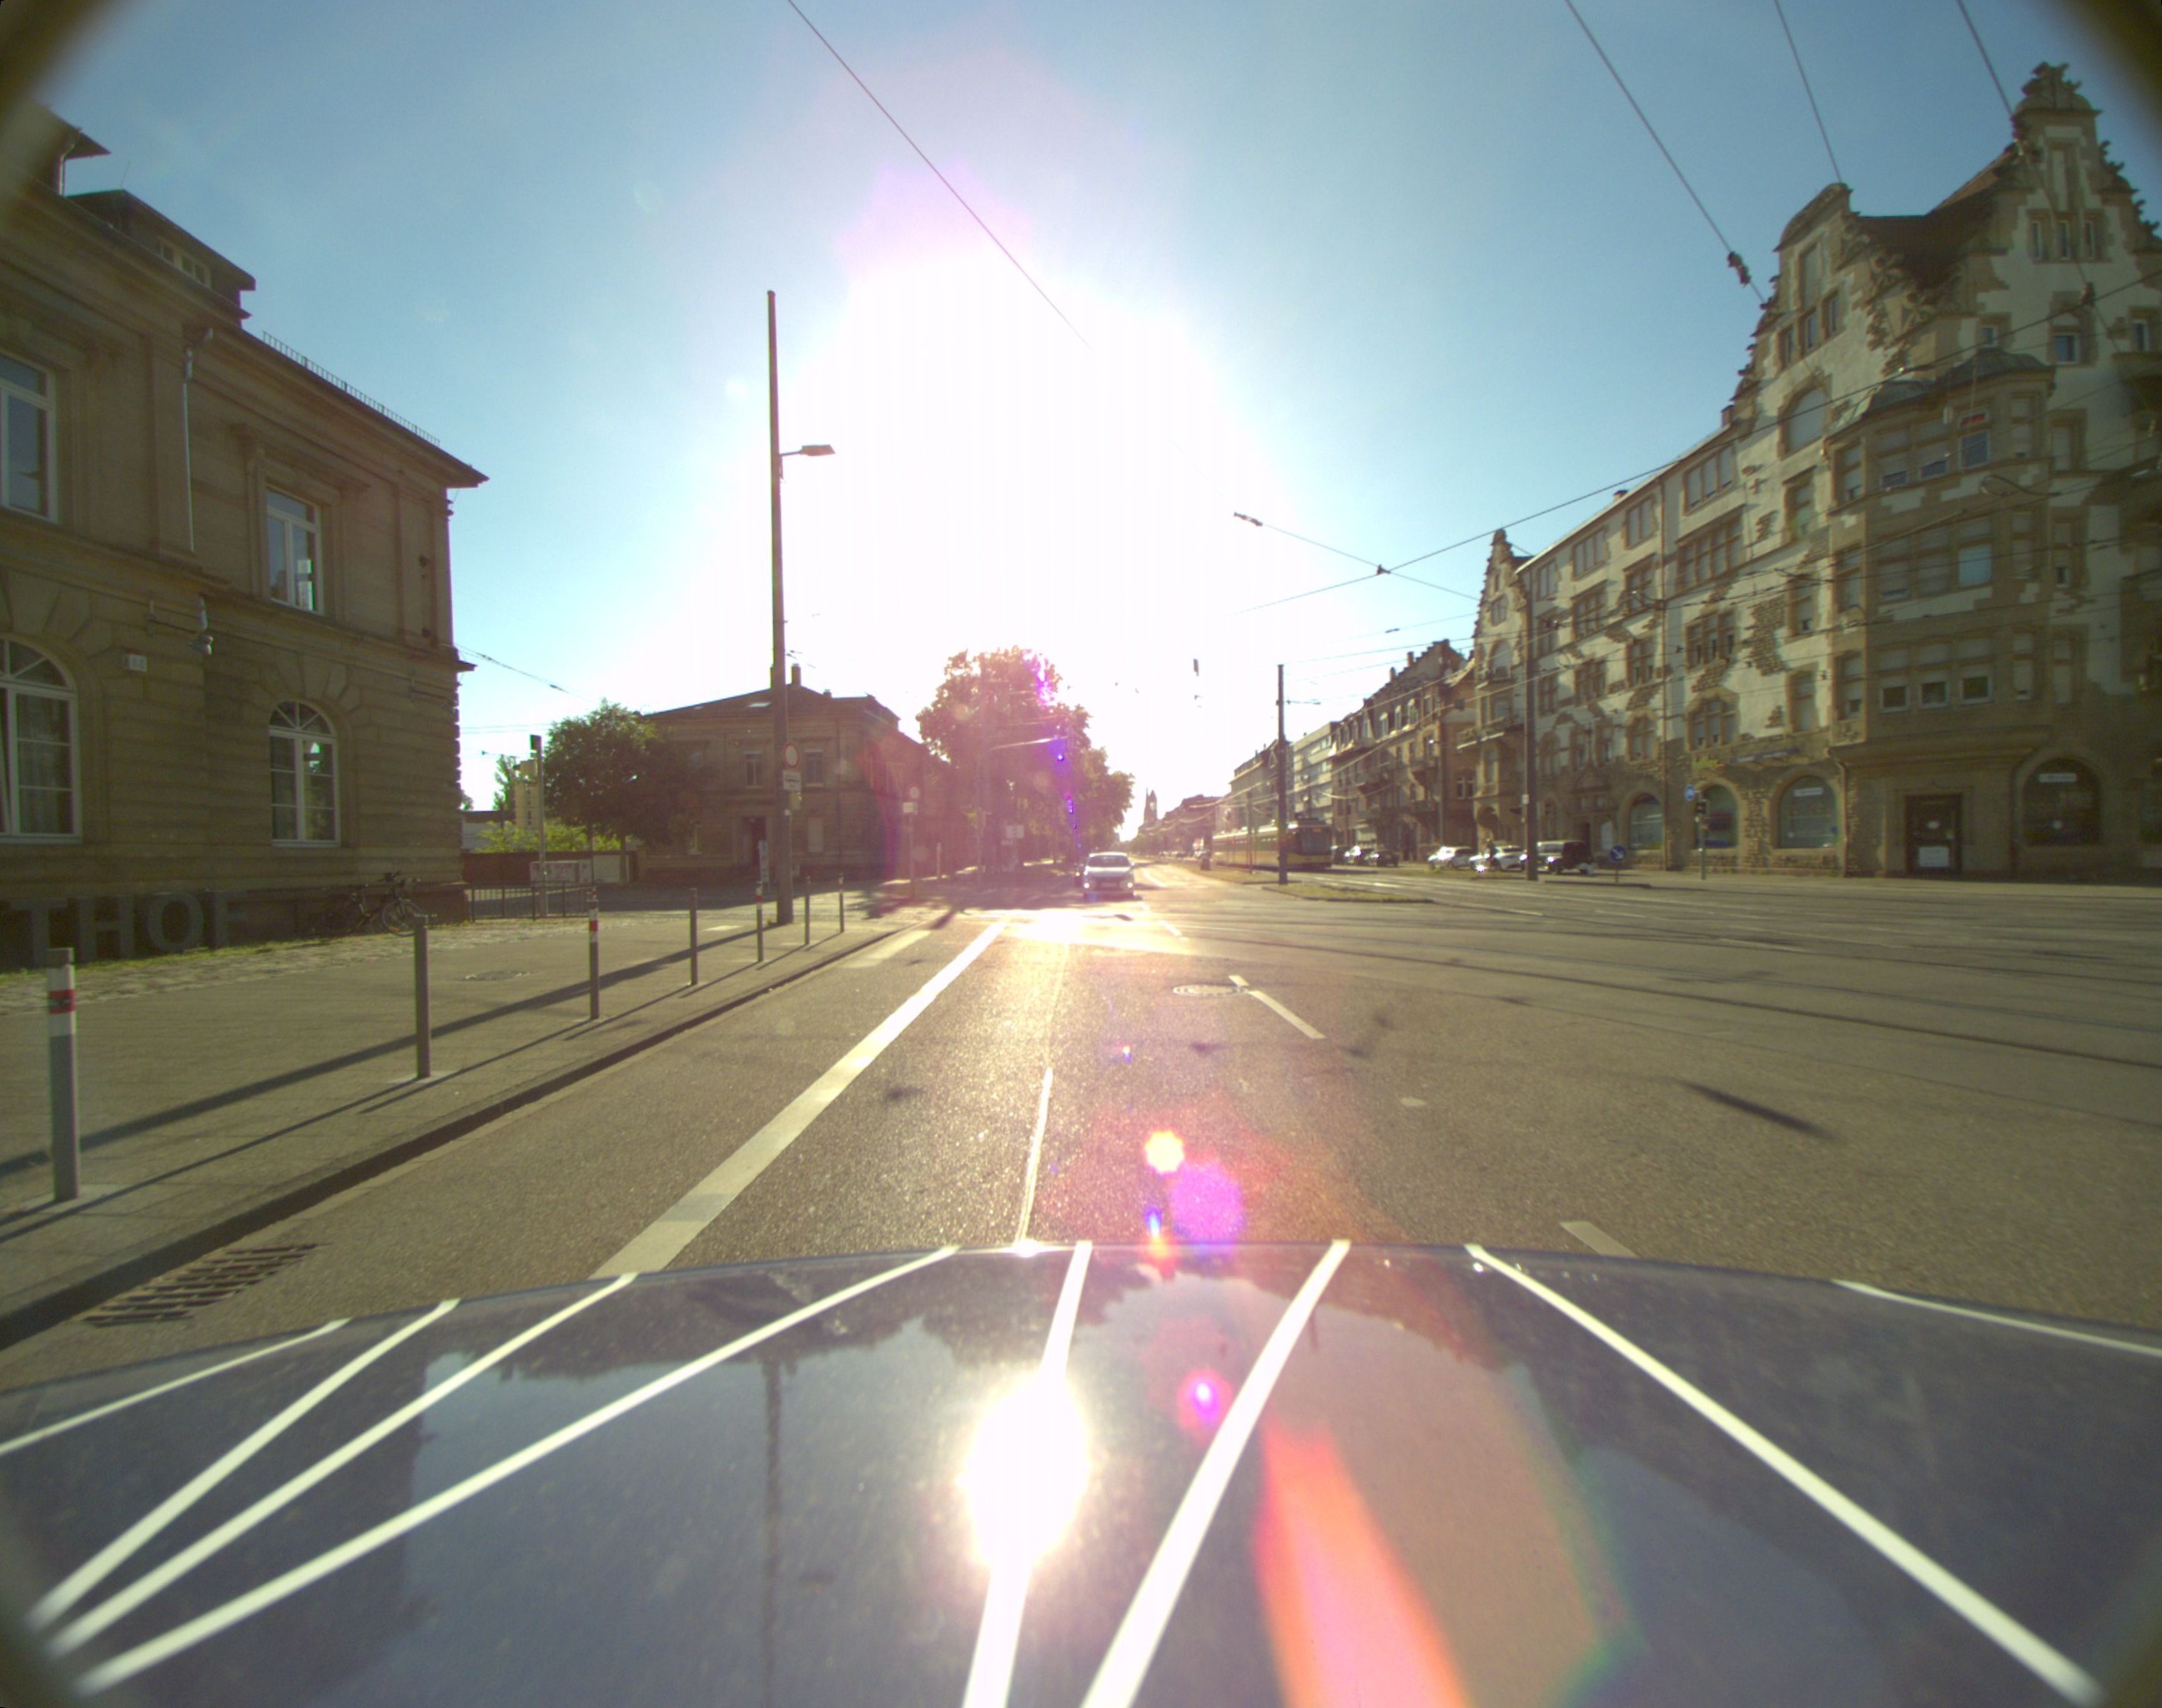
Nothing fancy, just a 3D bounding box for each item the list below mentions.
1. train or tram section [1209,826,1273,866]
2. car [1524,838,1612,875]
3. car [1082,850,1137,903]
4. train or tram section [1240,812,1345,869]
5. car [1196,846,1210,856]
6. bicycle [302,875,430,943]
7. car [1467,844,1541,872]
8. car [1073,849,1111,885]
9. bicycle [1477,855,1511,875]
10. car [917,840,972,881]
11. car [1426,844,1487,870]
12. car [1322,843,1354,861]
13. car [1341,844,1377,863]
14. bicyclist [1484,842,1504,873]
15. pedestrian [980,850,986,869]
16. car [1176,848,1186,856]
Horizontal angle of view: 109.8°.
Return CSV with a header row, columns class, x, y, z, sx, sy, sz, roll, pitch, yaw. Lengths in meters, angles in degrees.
class,x,y,z,sx,sy,sz,roll,pitch,yaw
train or tram section,15.484,-0.824,75.507,2.781,3.379,19.473,-2,1,2
car,24.071,0.111,37.725,1.780,1.660,4.000,-1,0,0
car,0.939,0.686,25.285,1.649,1.555,3.666,-2,1,2
train or tram section,14.882,-0.803,55.879,2.781,3.378,19.476,-2,0,2
car,20.926,-0.467,130.573,1.780,1.660,4.000,-1,0,0
bicycle,-12.966,0.980,13.808,1.650,1.174,0.690,0,1,0
car,24.154,0.206,43.605,1.727,1.467,4.432,-1,0,-1
car,0.541,0.587,36.024,1.649,1.555,3.666,-2,1,2
bicycle,21.878,0.556,40.277,0.607,0.996,2.068,-1,0,-1
car,-7.310,0.294,40.983,1.833,2.035,4.001,-2,1,5
car,24.150,0.178,49.008,1.741,1.516,3.999,-3,0,-3
car,24.367,-0.183,72.265,1.741,1.516,4.000,-3,0,2
car,24.124,-0.078,66.113,1.741,1.516,4.000,-3,0,2
bicyclist,21.864,0.190,40.262,0.683,1.609,0.630,-1,1,-2
pedestrian,-8.470,0.461,65.614,0.364,1.635,0.390,-1,1,2
car,22.899,-0.478,174.093,1.780,1.660,4.000,-1,0,0
